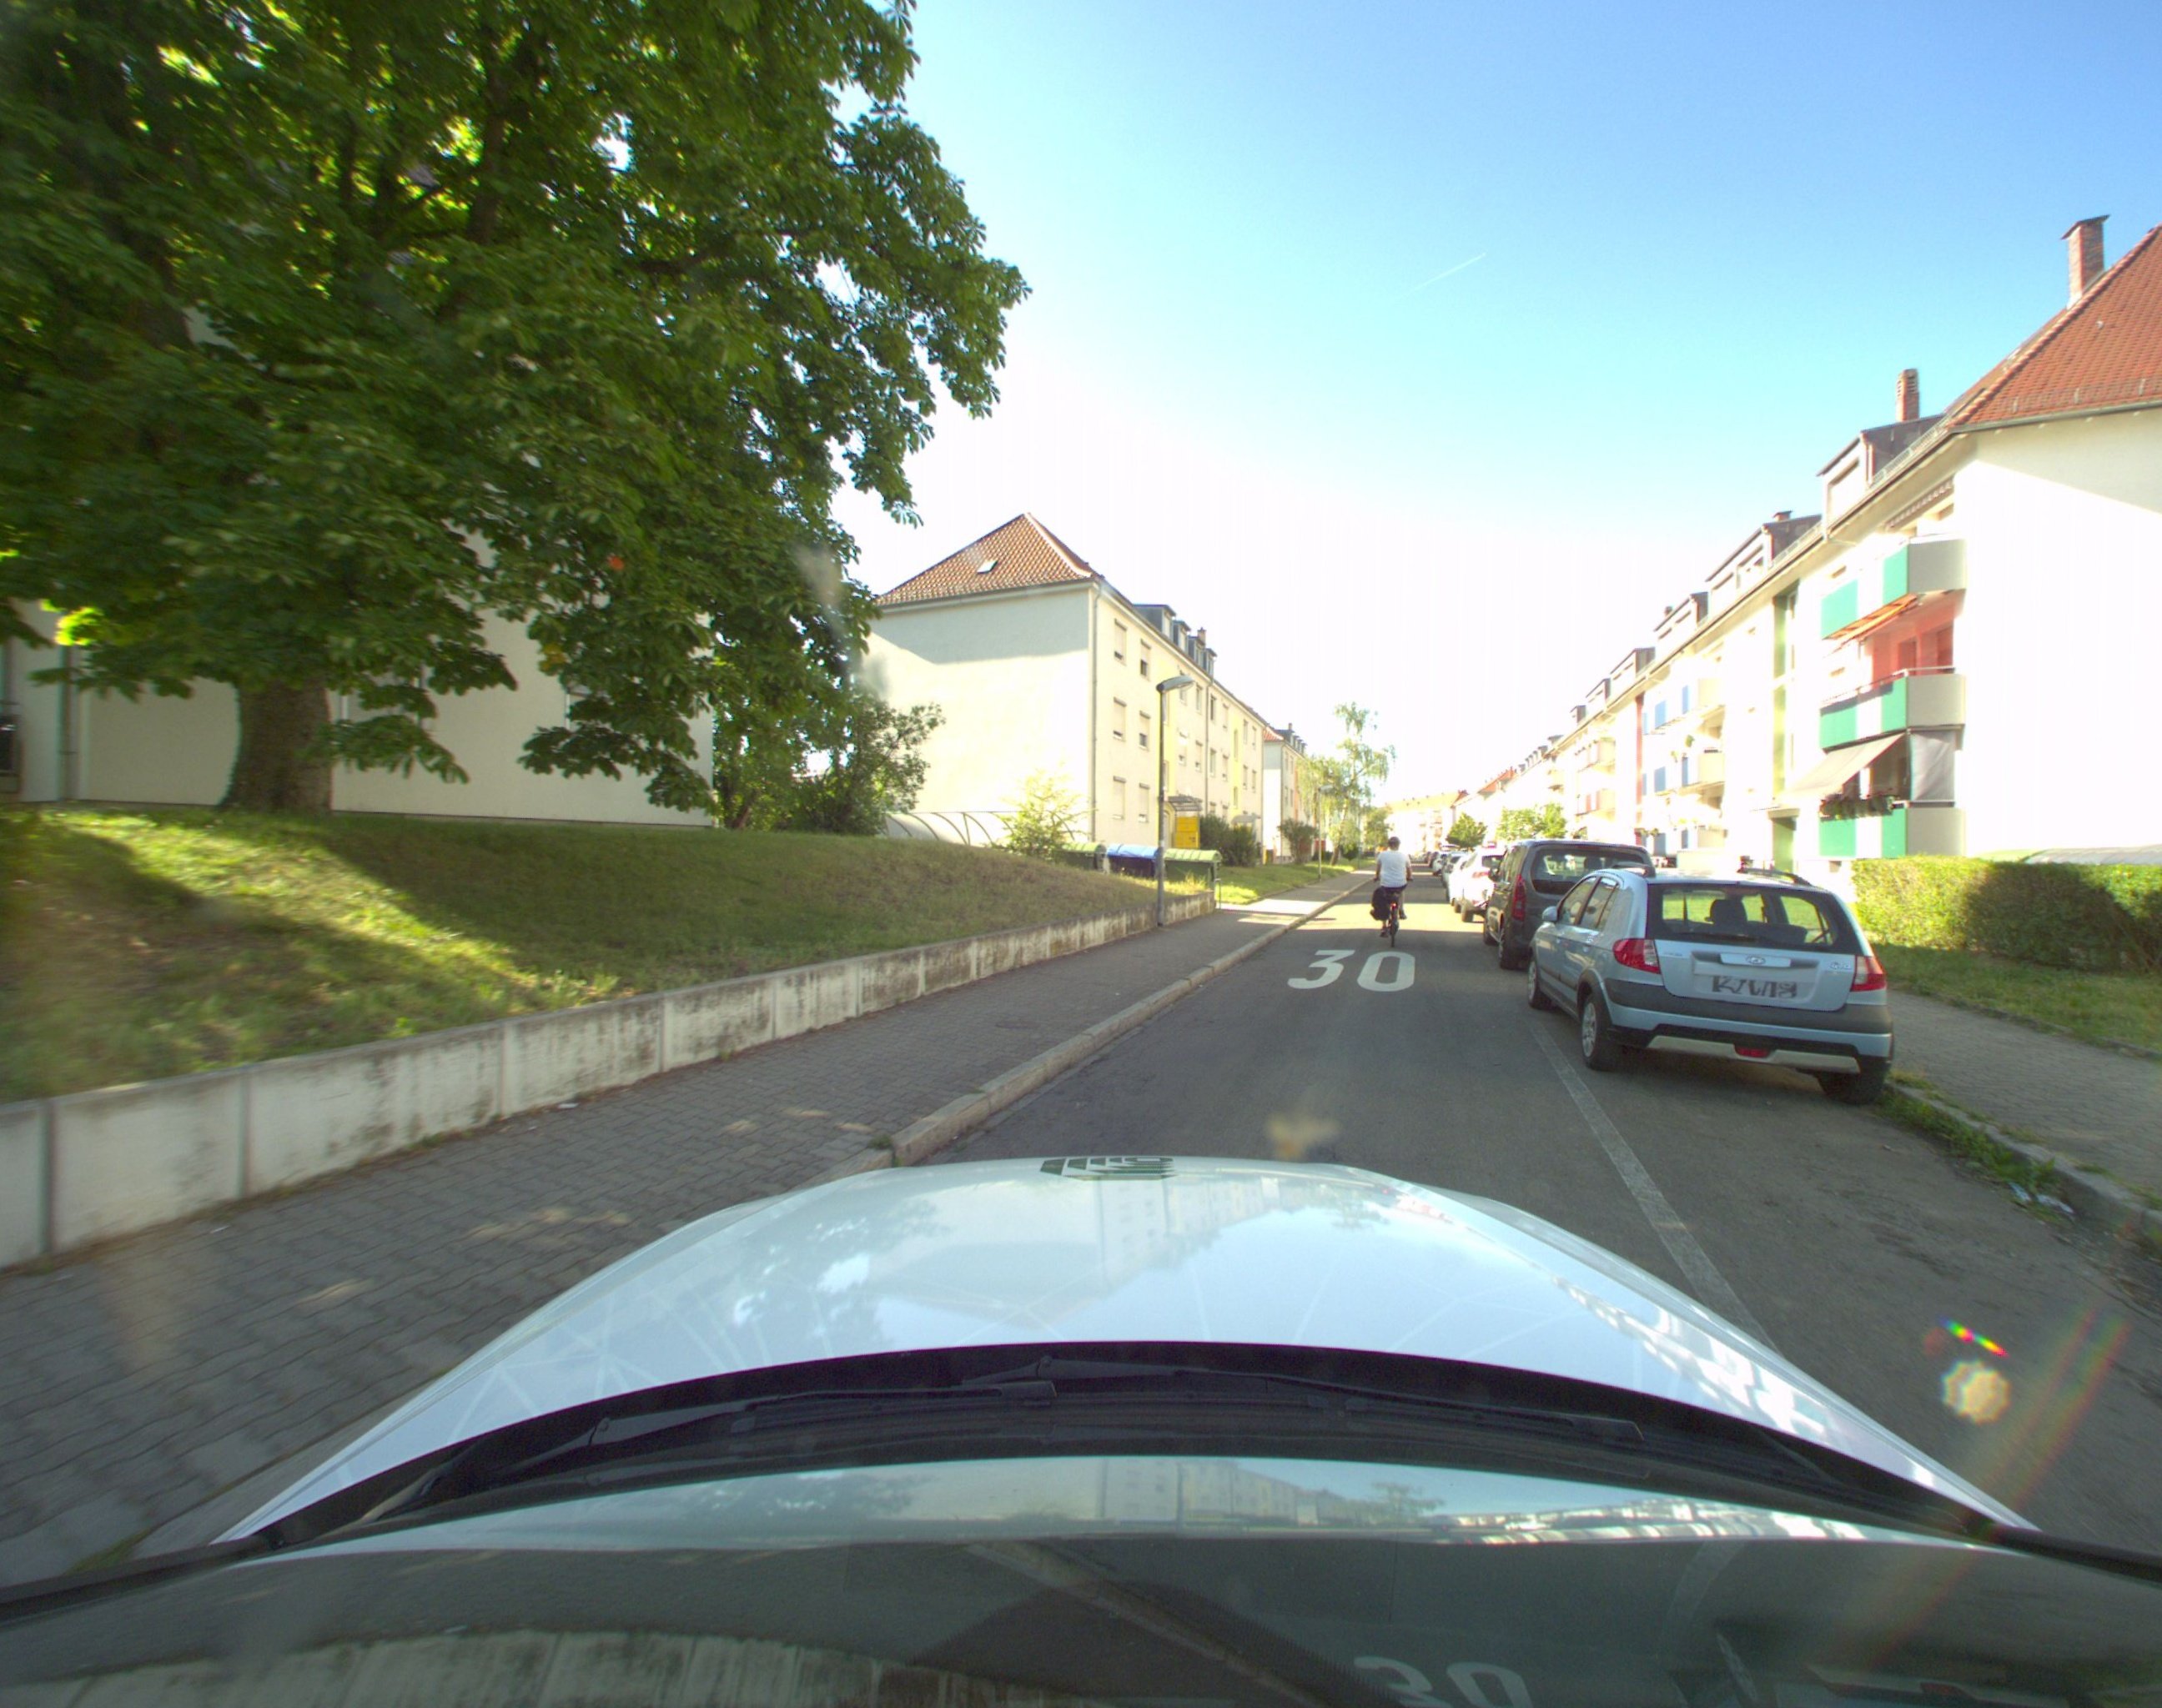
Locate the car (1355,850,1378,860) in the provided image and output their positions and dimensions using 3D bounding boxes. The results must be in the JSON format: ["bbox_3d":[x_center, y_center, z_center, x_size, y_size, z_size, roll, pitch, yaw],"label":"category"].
[{"bbox_3d":[53.529,0.183,152.710,3.953,1.801,2.011,0,0,21],"label":"car"}]

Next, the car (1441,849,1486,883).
[{"bbox_3d":[18.514,0.533,39.540,1.819,1.558,4.022,0,0,23],"label":"car"}]

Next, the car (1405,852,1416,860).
[{"bbox_3d":[66.692,0.427,164.851,1.742,1.575,3.922,0,0,19],"label":"car"}]

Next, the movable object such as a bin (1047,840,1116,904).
[{"bbox_3d":[0.022,0.450,21.423,1.446,1.613,1.197,0,0,22],"label":"movable object such as a bin"}]

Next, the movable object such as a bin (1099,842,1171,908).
[{"bbox_3d":[1.395,0.516,20.900,1.486,1.622,1.270,0,0,22],"label":"movable object such as a bin"}]

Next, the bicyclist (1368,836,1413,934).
[{"bbox_3d":[5.216,0.500,13.721,0.688,1.596,0.795,0,0,21],"label":"bicyclist"}]

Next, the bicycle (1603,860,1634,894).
[{"bbox_3d":[18.509,0.766,28.070,0.554,1.093,1.911,0,0,23],"label":"bicycle"}]

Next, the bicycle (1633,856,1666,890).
[{"bbox_3d":[19.390,0.635,27.801,0.554,1.093,1.911,0,0,23],"label":"bicycle"}]

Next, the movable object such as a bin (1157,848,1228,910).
[{"bbox_3d":[2.803,0.606,20.422,1.479,1.478,1.271,0,0,22],"label":"movable object such as a bin"}]

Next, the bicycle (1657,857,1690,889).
[{"bbox_3d":[20.186,0.631,27.769,0.510,1.054,1.875,0,0,23],"label":"bicycle"}]

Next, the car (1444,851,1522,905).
[{"bbox_3d":[11.658,0.642,23.804,1.742,1.432,3.648,1,0,21],"label":"car"}]

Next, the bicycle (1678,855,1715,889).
[{"bbox_3d":[20.789,0.594,27.549,0.554,1.104,1.839,0,0,23],"label":"bicycle"}]

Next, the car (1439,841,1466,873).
[{"bbox_3d":[25.968,0.222,57.061,1.605,2.143,4.022,0,0,23],"label":"car"}]

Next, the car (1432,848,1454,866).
[{"bbox_3d":[33.625,0.298,75.743,1.790,1.604,4.428,0,0,23],"label":"car"}]

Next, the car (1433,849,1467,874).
[{"bbox_3d":[23.415,0.437,51.769,1.877,1.496,4.114,0,0,23],"label":"car"}]

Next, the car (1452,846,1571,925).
[{"bbox_3d":[9.674,0.631,18.620,1.966,1.592,4.146,0,0,22],"label":"car"}]

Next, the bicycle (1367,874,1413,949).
[{"bbox_3d":[5.189,0.923,13.666,0.655,1.127,1.775,1,0,21],"label":"bicycle"}]

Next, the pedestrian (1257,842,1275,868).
[{"bbox_3d":[10.888,0.070,48.037,0.856,1.521,1.074,0,0,23],"label":"pedestrian"}]

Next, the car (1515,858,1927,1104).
[{"bbox_3d":[4.939,0.766,6.964,1.639,1.429,3.919,0,0,20],"label":"car"}]

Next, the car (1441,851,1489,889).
[{"bbox_3d":[16.448,0.636,35.016,1.617,1.491,3.642,2,1,21],"label":"car"}]

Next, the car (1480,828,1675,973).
[{"bbox_3d":[7.073,0.548,12.062,1.847,1.730,4.318,0,0,23],"label":"car"}]
